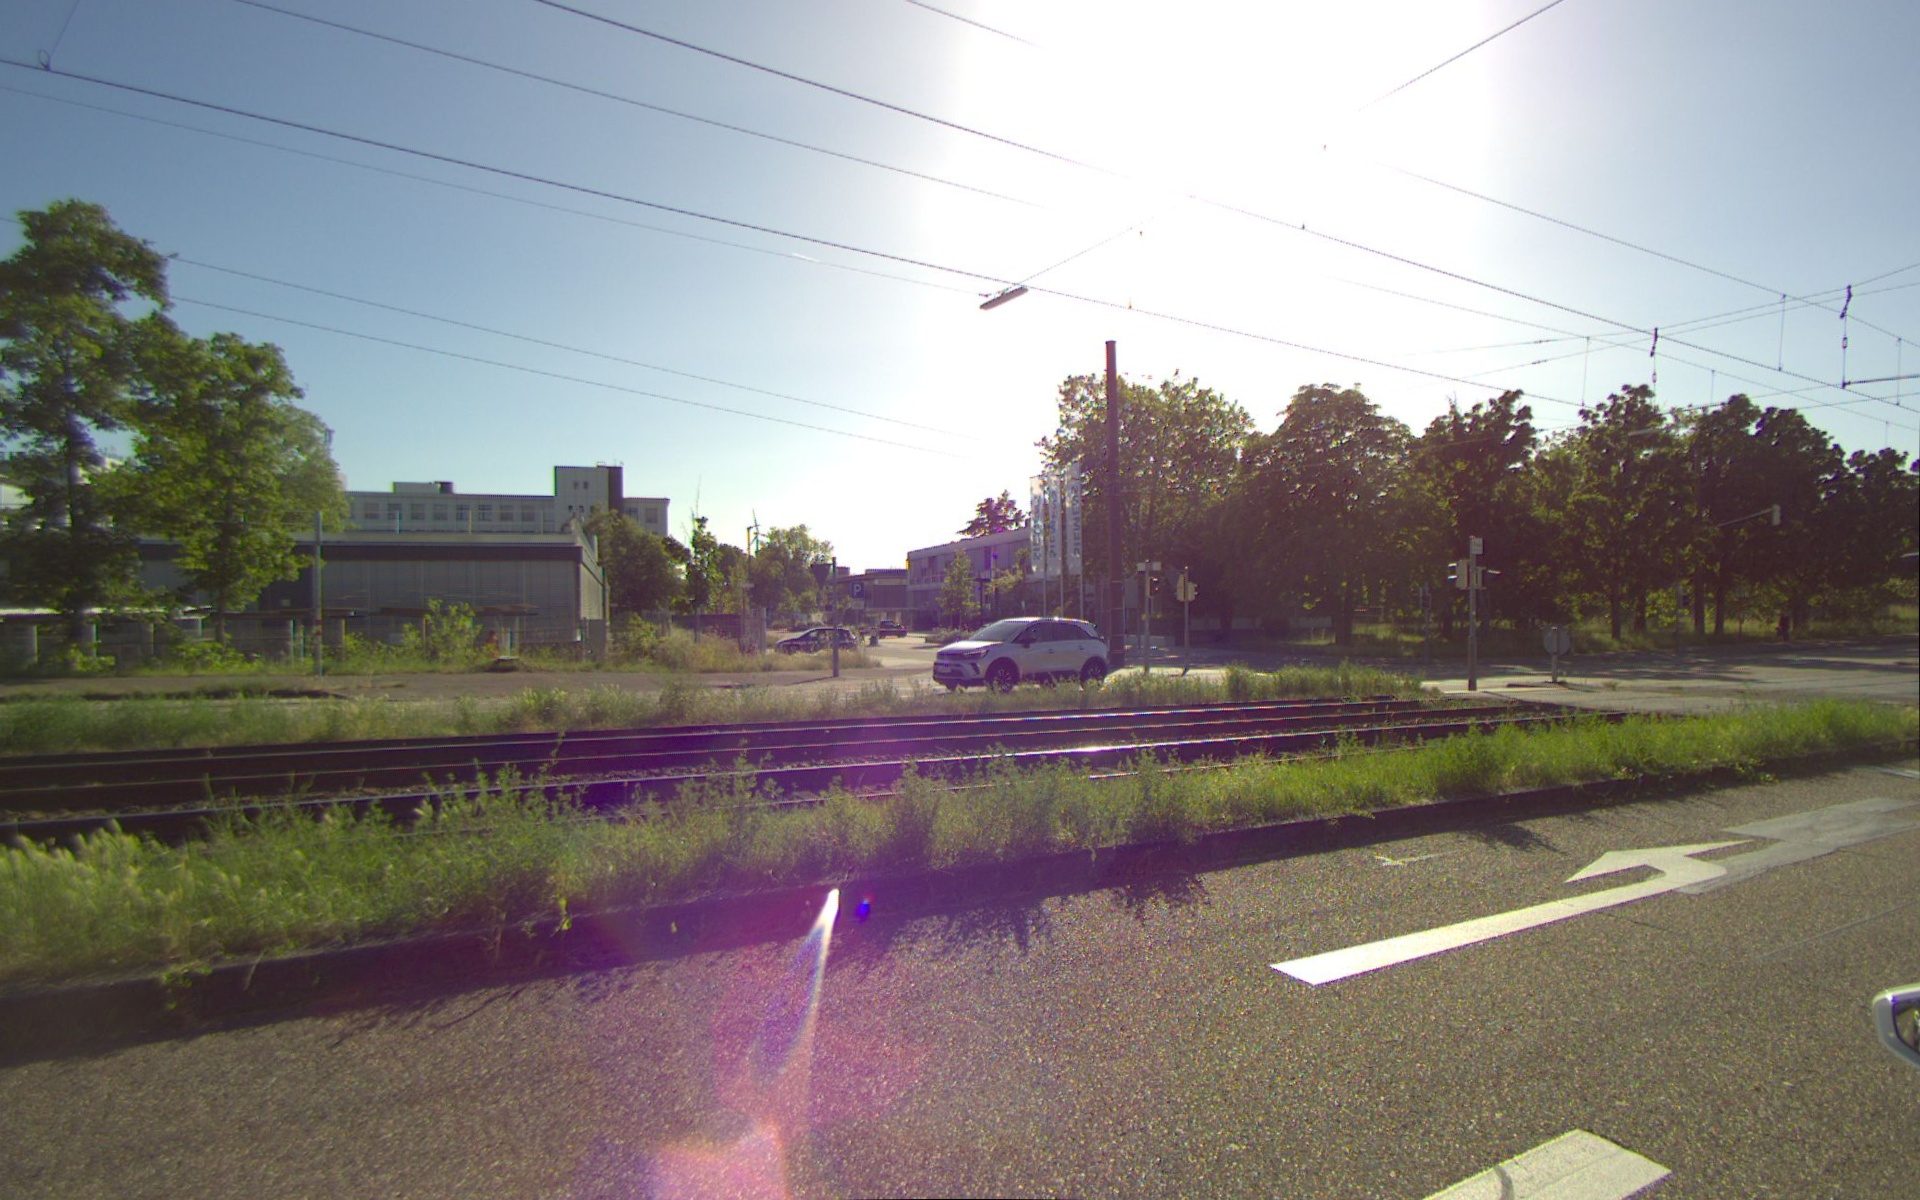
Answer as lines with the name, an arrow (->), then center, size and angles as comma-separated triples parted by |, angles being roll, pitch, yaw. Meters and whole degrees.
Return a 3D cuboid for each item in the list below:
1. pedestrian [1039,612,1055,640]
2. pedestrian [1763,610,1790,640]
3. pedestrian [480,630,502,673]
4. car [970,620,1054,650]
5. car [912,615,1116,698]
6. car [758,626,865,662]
pedestrian -> 5.844, 1.738, 67.284 | 0.807, 1.811, 0.950 | 0, 0, -16
pedestrian -> 47.261, 1.447, 58.135 | 0.919, 1.757, 0.761 | 0, 0, -2
pedestrian -> -14.701, 1.605, 31.470 | 0.432, 1.318, 0.441 | 0, 0, 18
car -> 3.200, 2.132, 61.718 | 4.768, 1.751, 2.041 | 1, 0, -21
car -> 1.199, 1.144, 21.519 | 4.115, 1.578, 1.843 | 1, 0, -35
car -> -7.679, 2.253, 51.923 | 5.210, 1.772, 2.164 | 1, 0, -19
